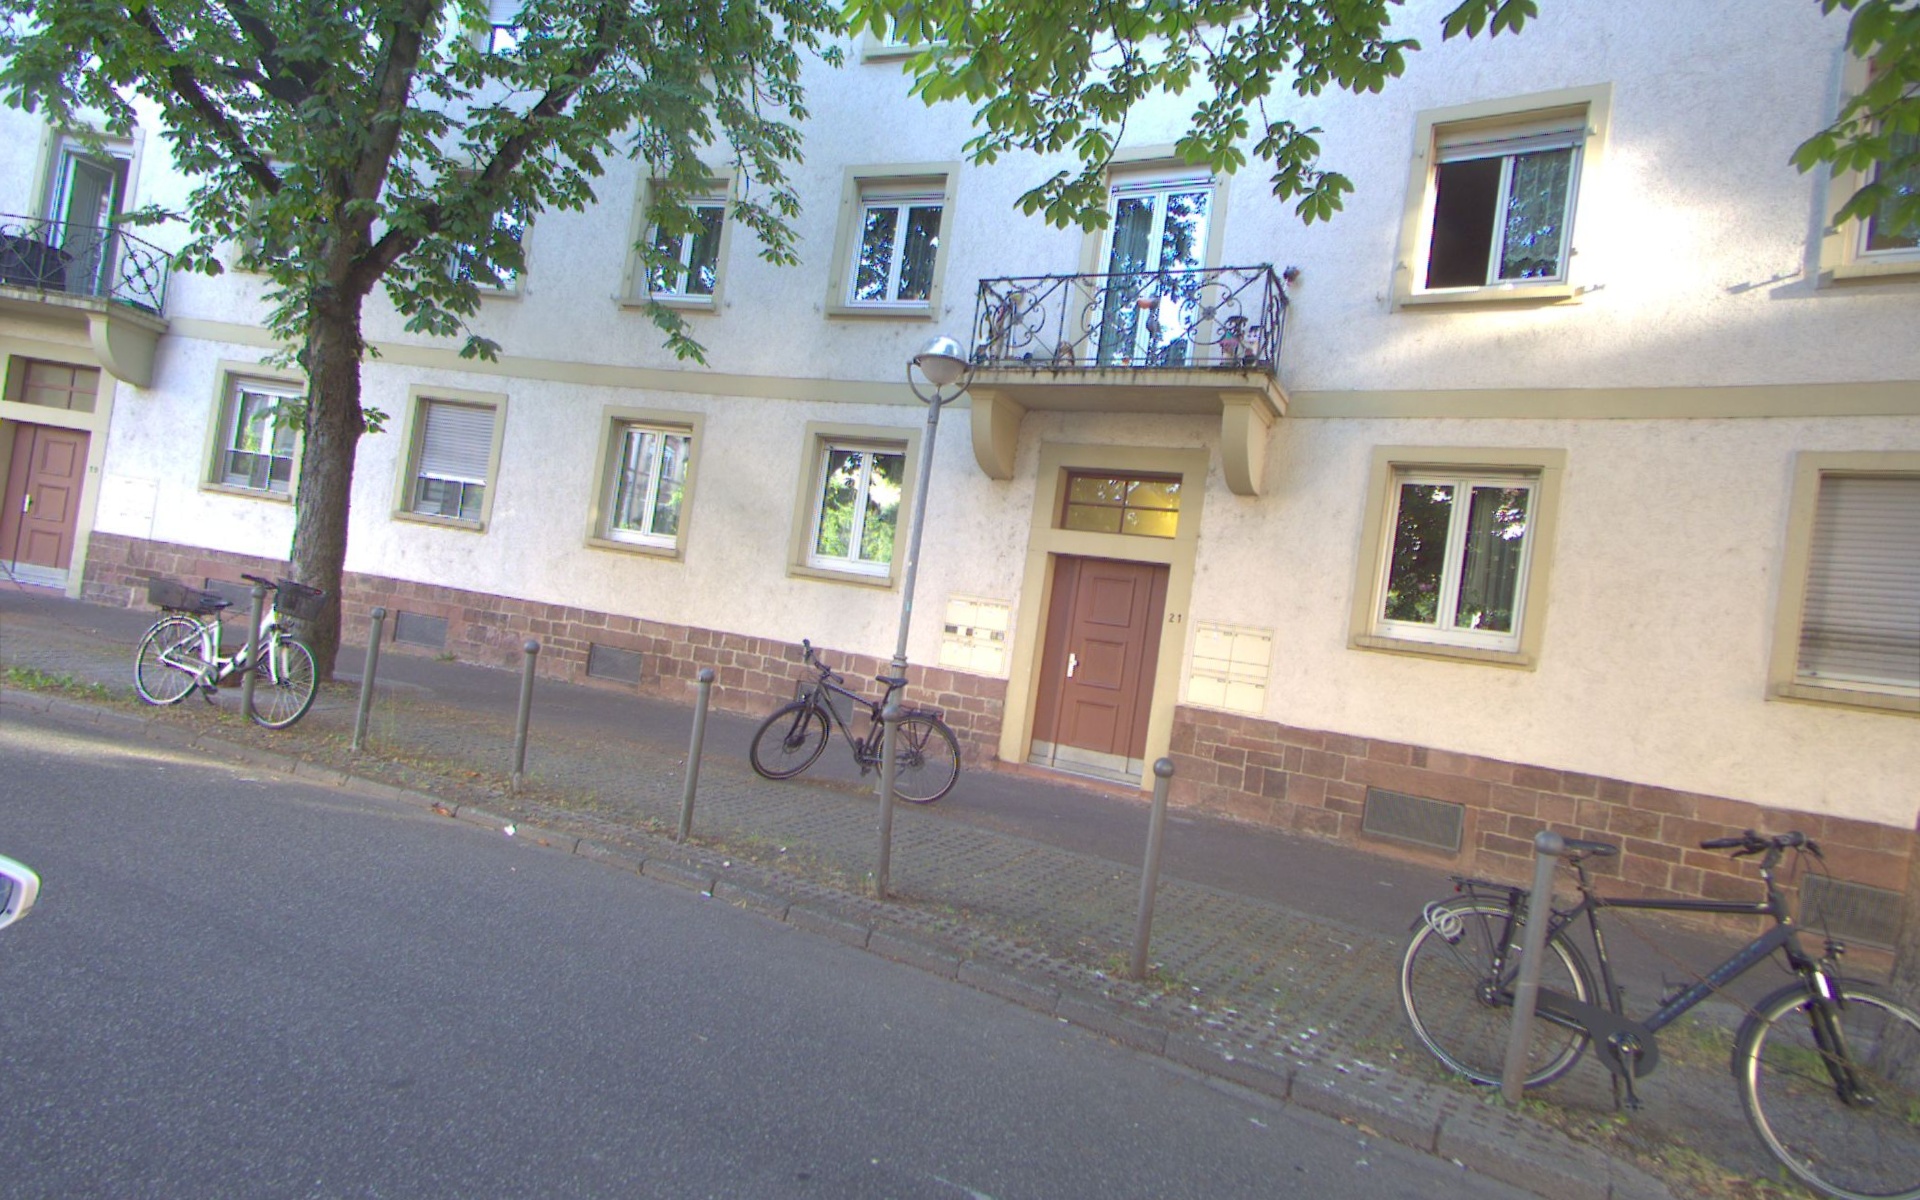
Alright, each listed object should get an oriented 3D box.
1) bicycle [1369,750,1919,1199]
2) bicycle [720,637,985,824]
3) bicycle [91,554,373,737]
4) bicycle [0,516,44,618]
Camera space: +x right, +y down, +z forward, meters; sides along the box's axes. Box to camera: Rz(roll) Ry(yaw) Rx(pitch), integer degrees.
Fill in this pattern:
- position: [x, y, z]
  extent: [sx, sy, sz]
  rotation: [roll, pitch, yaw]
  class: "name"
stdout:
- position: [2.610, 1.340, 3.656]
  extent: [1.881, 1.237, 0.719]
  rotation: [7, -1, 29]
  class: "bicycle"
- position: [-0.817, 0.999, 8.012]
  extent: [1.823, 1.131, 0.804]
  rotation: [8, -1, 8]
  class: "bicycle"
- position: [-5.640, 0.335, 7.805]
  extent: [1.936, 1.109, 0.514]
  rotation: [8, 0, 12]
  class: "bicycle"
- position: [-11.730, -0.500, 11.574]
  extent: [1.929, 1.120, 0.670]
  rotation: [8, -2, 13]
  class: "bicycle"
